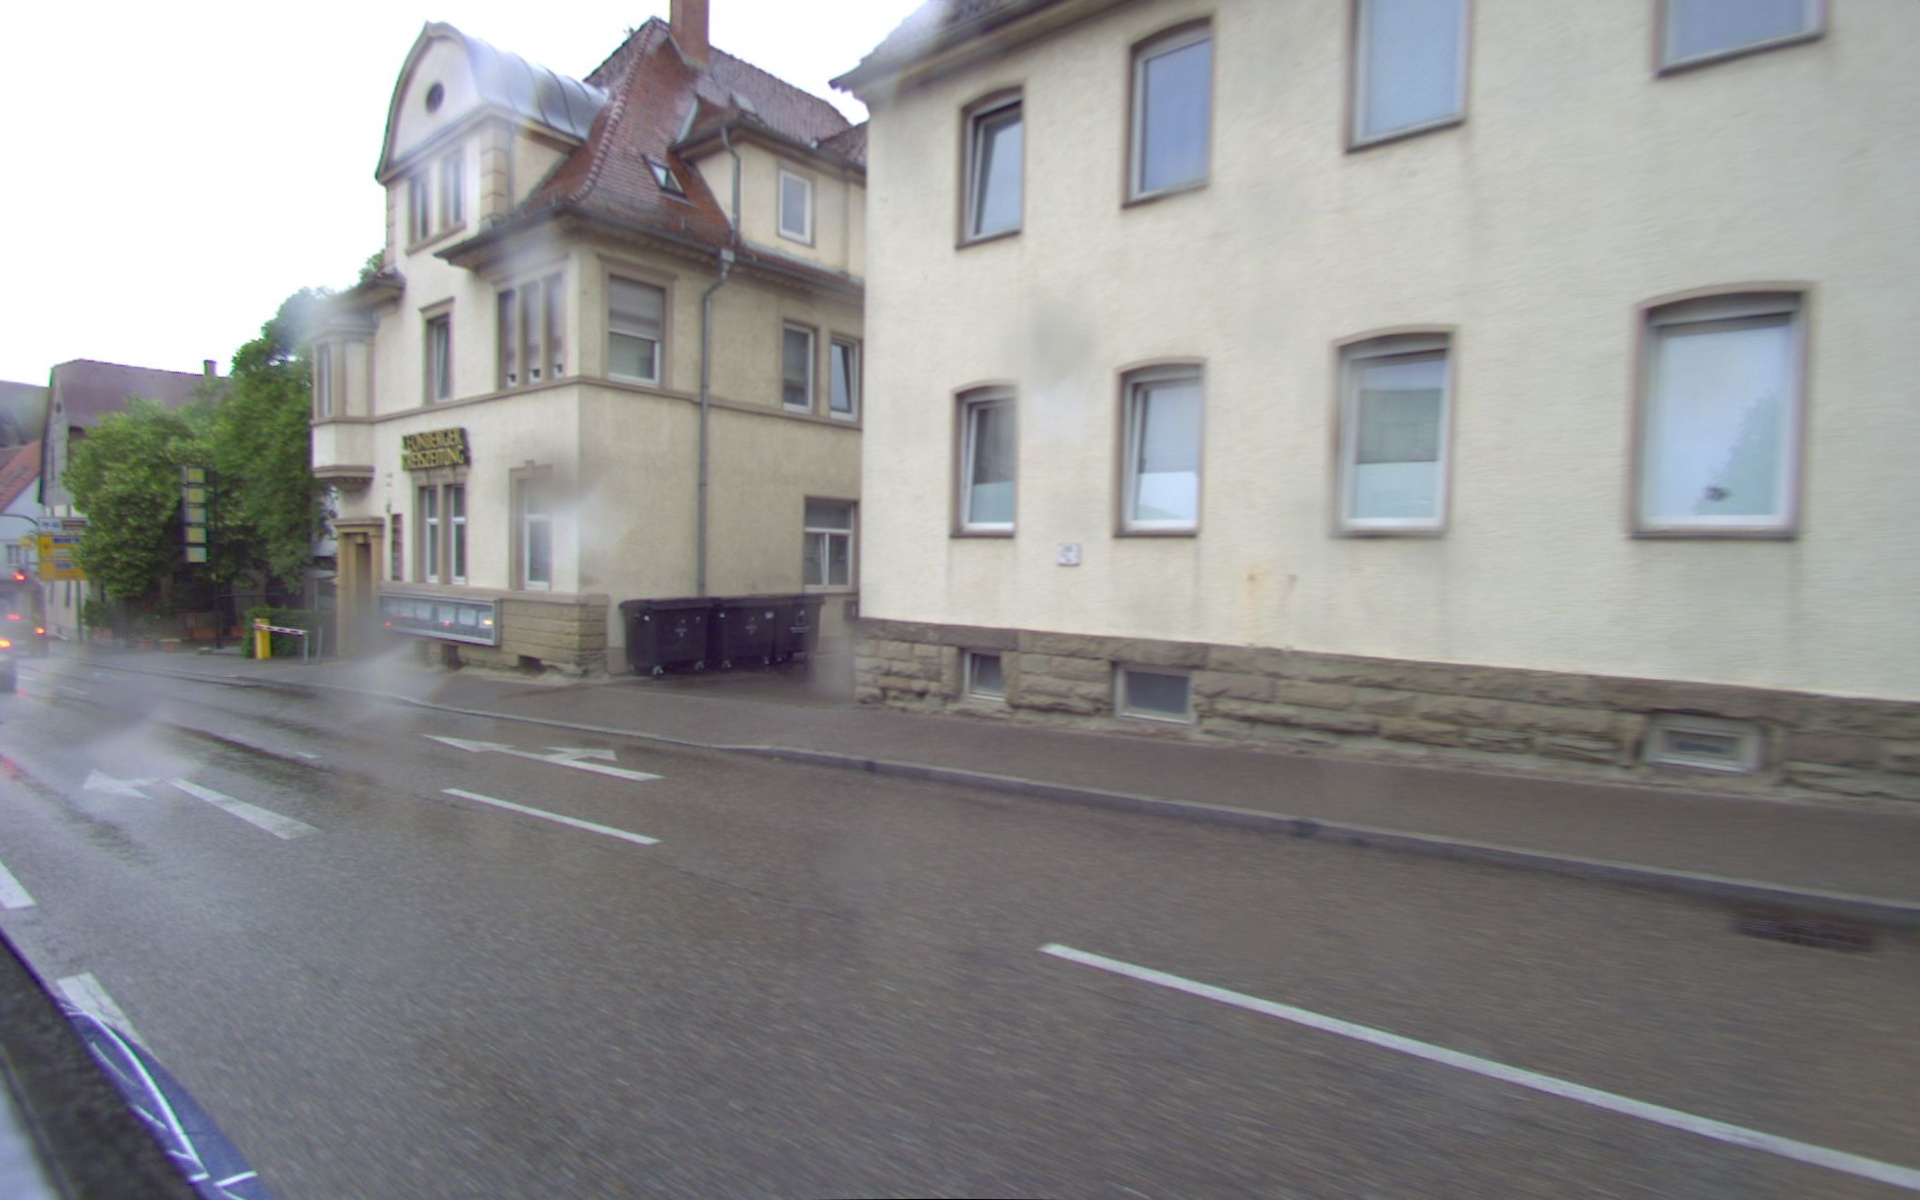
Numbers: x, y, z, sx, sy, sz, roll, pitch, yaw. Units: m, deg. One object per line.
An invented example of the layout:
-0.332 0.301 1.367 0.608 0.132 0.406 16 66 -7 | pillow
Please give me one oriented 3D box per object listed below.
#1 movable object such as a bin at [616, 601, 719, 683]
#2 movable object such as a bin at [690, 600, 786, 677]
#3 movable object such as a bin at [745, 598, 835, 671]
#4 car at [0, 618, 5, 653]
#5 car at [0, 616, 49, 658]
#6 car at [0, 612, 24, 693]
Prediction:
-4.900 0.679 16.979 1.049 1.276 1.267 -1 0 39 | movable object such as a bin
-3.918 0.650 17.877 1.049 1.276 1.267 -1 0 39 | movable object such as a bin
-3.180 0.625 18.953 1.049 1.276 1.267 -1 0 39 | movable object such as a bin
-38.699 1.406 39.391 4.030 1.303 1.829 -1 0 41 | car
-33.732 1.298 35.766 4.056 1.364 1.720 -1 0 40 | car
-19.603 1.001 19.366 4.683 1.450 1.782 -1 0 39 | car
